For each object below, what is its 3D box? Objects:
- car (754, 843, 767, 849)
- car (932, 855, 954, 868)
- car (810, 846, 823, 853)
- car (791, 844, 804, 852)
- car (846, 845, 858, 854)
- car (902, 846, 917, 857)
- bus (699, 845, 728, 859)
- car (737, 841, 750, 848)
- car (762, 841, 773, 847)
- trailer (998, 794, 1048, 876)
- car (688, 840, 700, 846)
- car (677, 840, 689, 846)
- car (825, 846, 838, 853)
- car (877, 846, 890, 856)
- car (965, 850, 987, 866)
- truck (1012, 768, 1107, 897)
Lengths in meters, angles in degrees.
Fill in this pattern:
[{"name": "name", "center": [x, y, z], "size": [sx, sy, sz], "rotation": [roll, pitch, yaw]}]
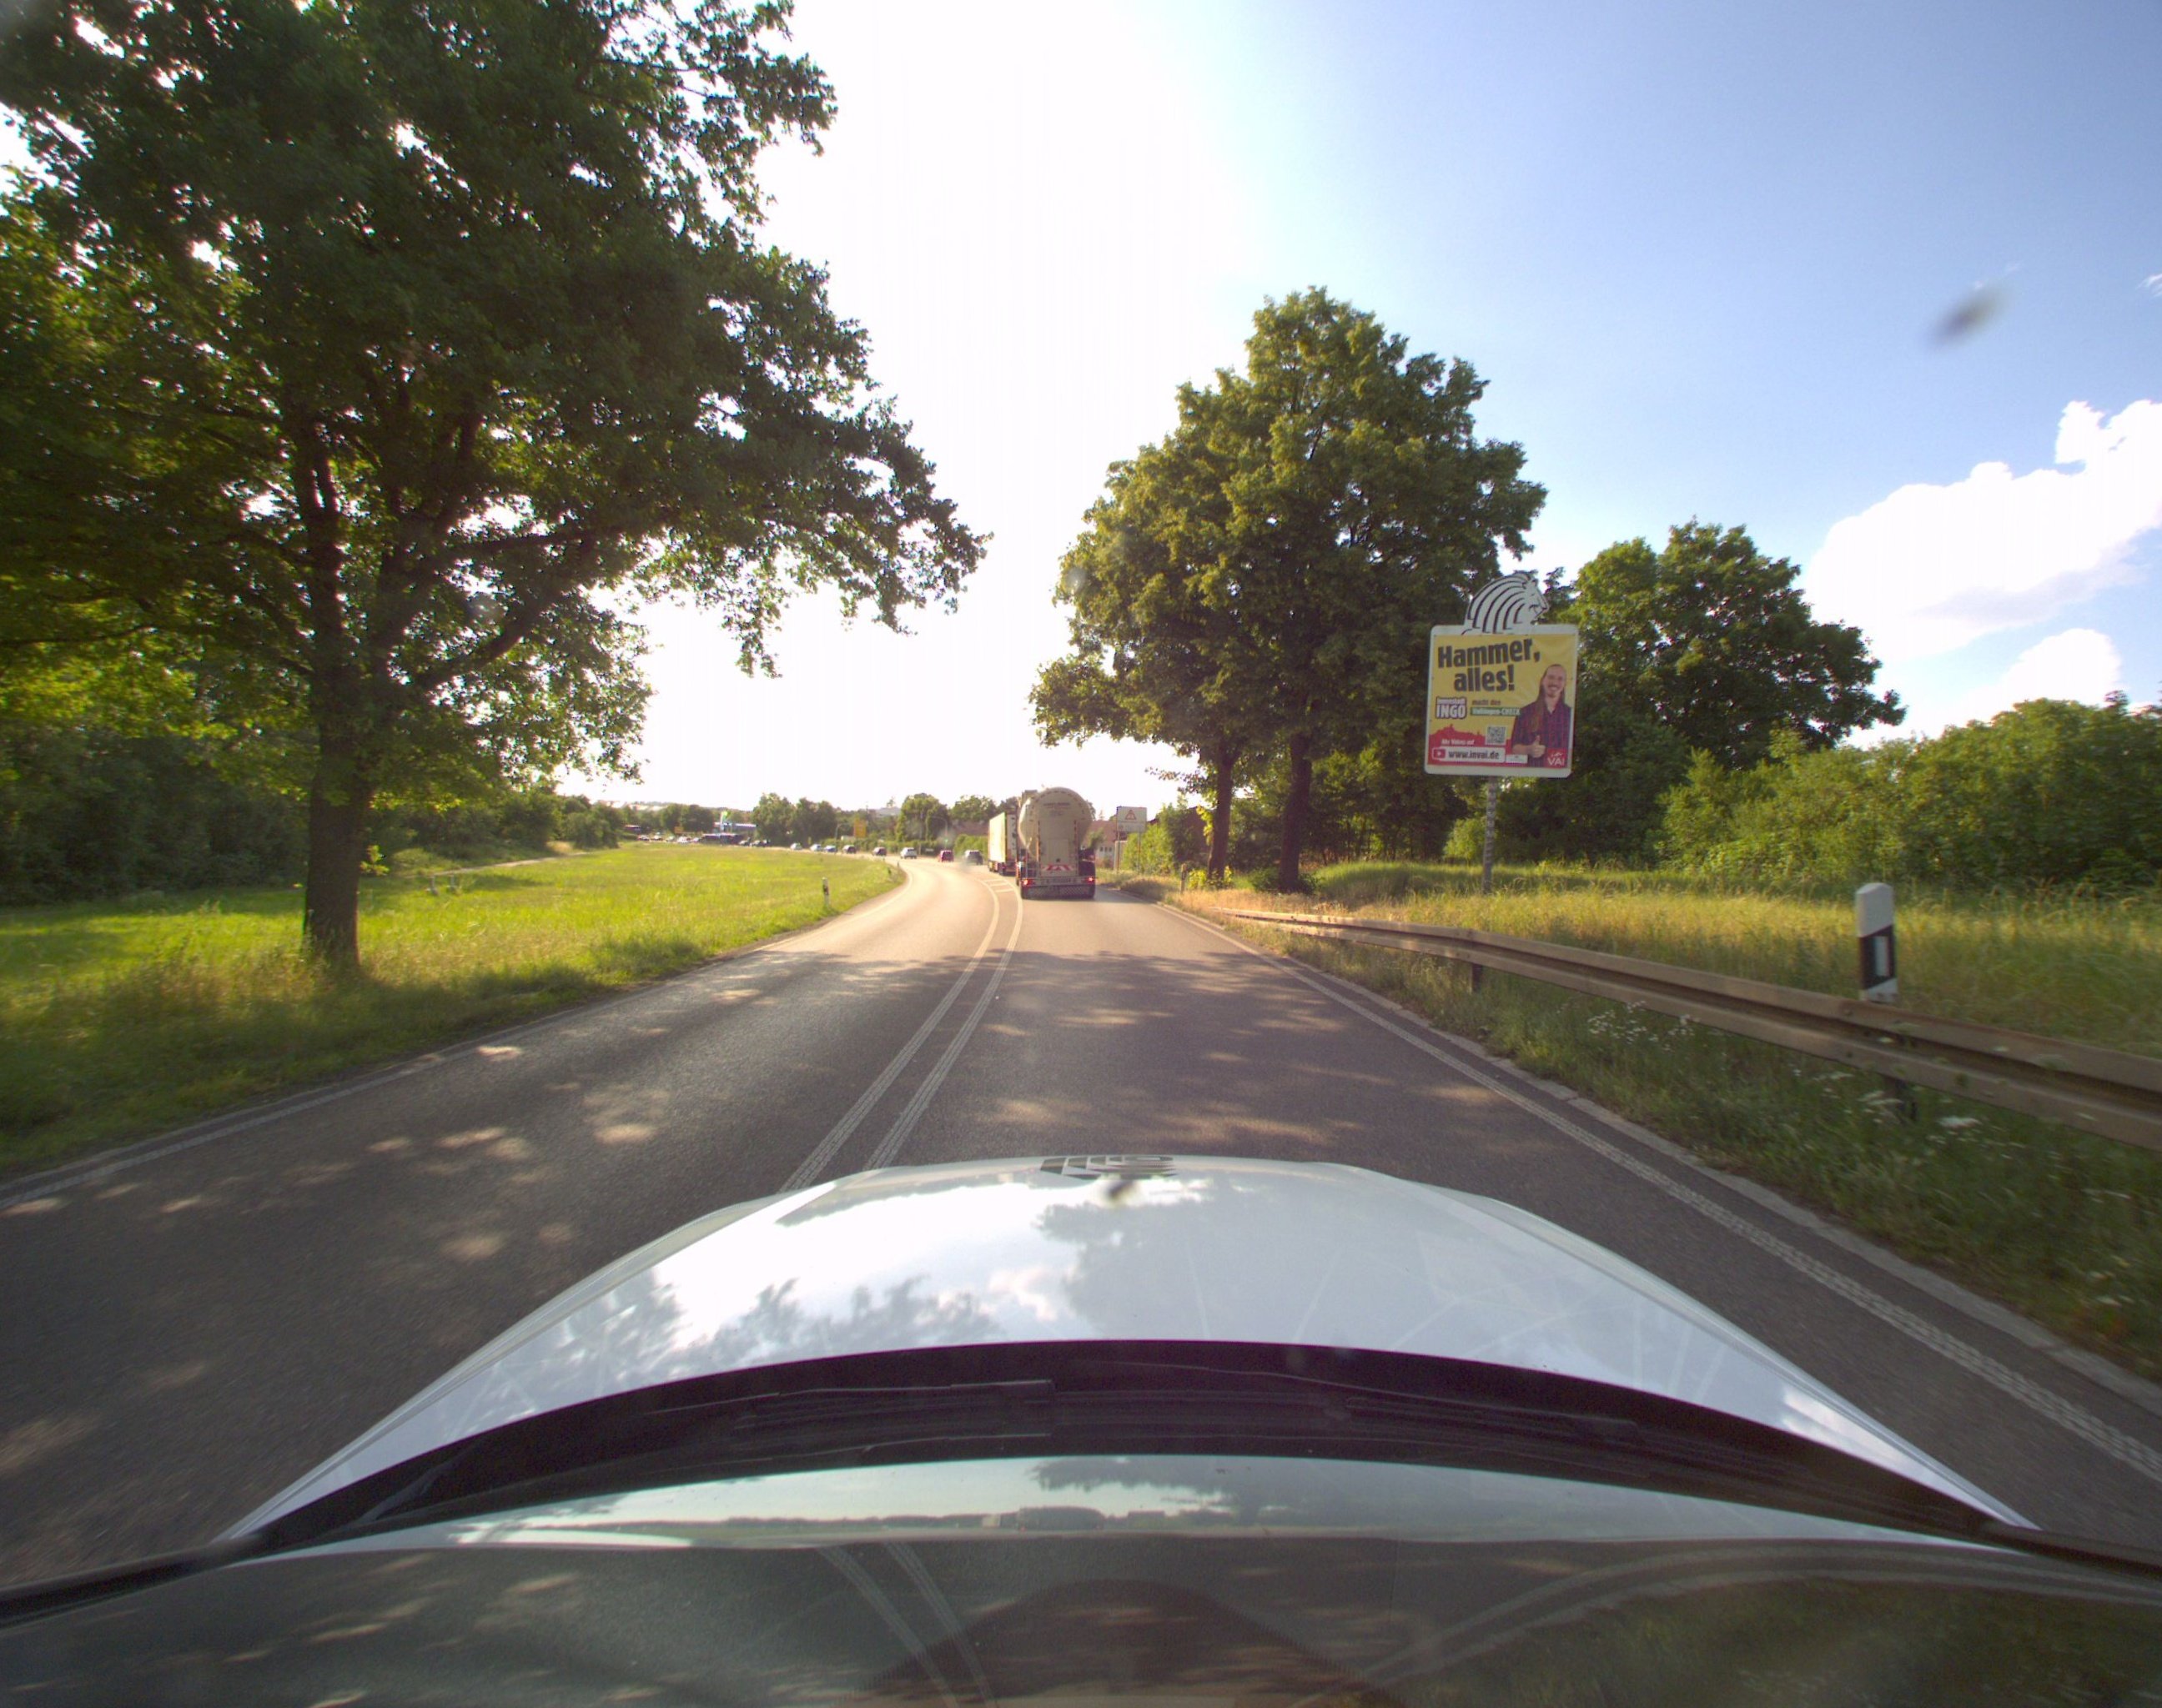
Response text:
[{"name": "car", "center": [-80.079, -2.042, 203.546], "size": [2.102, 1.599, 3.955], "rotation": [0, 1, -38]}, {"name": "car", "center": [-17.761, 0.922, 104.853], "size": [2.304, 1.656, 4.391], "rotation": [0, -1, -16]}, {"name": "car", "center": [-57.312, -0.998, 176.514], "size": [1.690, 1.559, 3.832], "rotation": [0, -1, -33]}, {"name": "car", "center": [-65.729, -1.383, 188.634], "size": [1.990, 1.656, 3.832], "rotation": [0, -1, -33]}, {"name": "car", "center": [-44.718, -0.800, 159.187], "size": [1.528, 1.656, 3.836], "rotation": [0, -1, -29]}, {"name": "car", "center": [-26.476, -0.425, 125.585], "size": [1.847, 1.656, 3.974], "rotation": [0, -1, -19]}, {"name": "bus", "center": [-92.987, -0.478, 205.856], "size": [2.819, 3.181, 11.977], "rotation": [0, -1, -44]}, {"name": "car", "center": [-87.254, -2.496, 210.566], "size": [2.102, 1.599, 3.955], "rotation": [0, 1, -38]}, {"name": "car", "center": [-80.331, -2.535, 208.578], "size": [1.741, 1.656, 3.828], "rotation": [0, -1, -38]}, {"name": "trailer", "center": [-4.024, -1.104, 54.250], "size": [2.961, 4.882, 10.265], "rotation": [0, -1, -6]}, {"name": "car", "center": [-109.184, -3.161, 229.738], "size": [1.898, 1.599, 3.953], "rotation": [0, 1, -41]}, {"name": "car", "center": [-114.313, -3.096, 233.630], "size": [3.951, 1.599, 1.899], "rotation": [1, 1, 45]}, {"name": "car", "center": [-51.554, -0.926, 168.208], "size": [1.690, 1.559, 3.832], "rotation": [0, -1, -33]}, {"name": "car", "center": [-34.108, -0.560, 140.750], "size": [1.526, 1.656, 3.843], "rotation": [0, -1, -23]}, {"name": "car", "center": [-11.344, 0.469, 87.795], "size": [1.995, 1.656, 3.983], "rotation": [0, -1, -12]}, {"name": "truck", "center": [-1.182, -0.658, 32.361], "size": [2.972, 4.175, 11.638], "rotation": [0, -1, -6]}]
